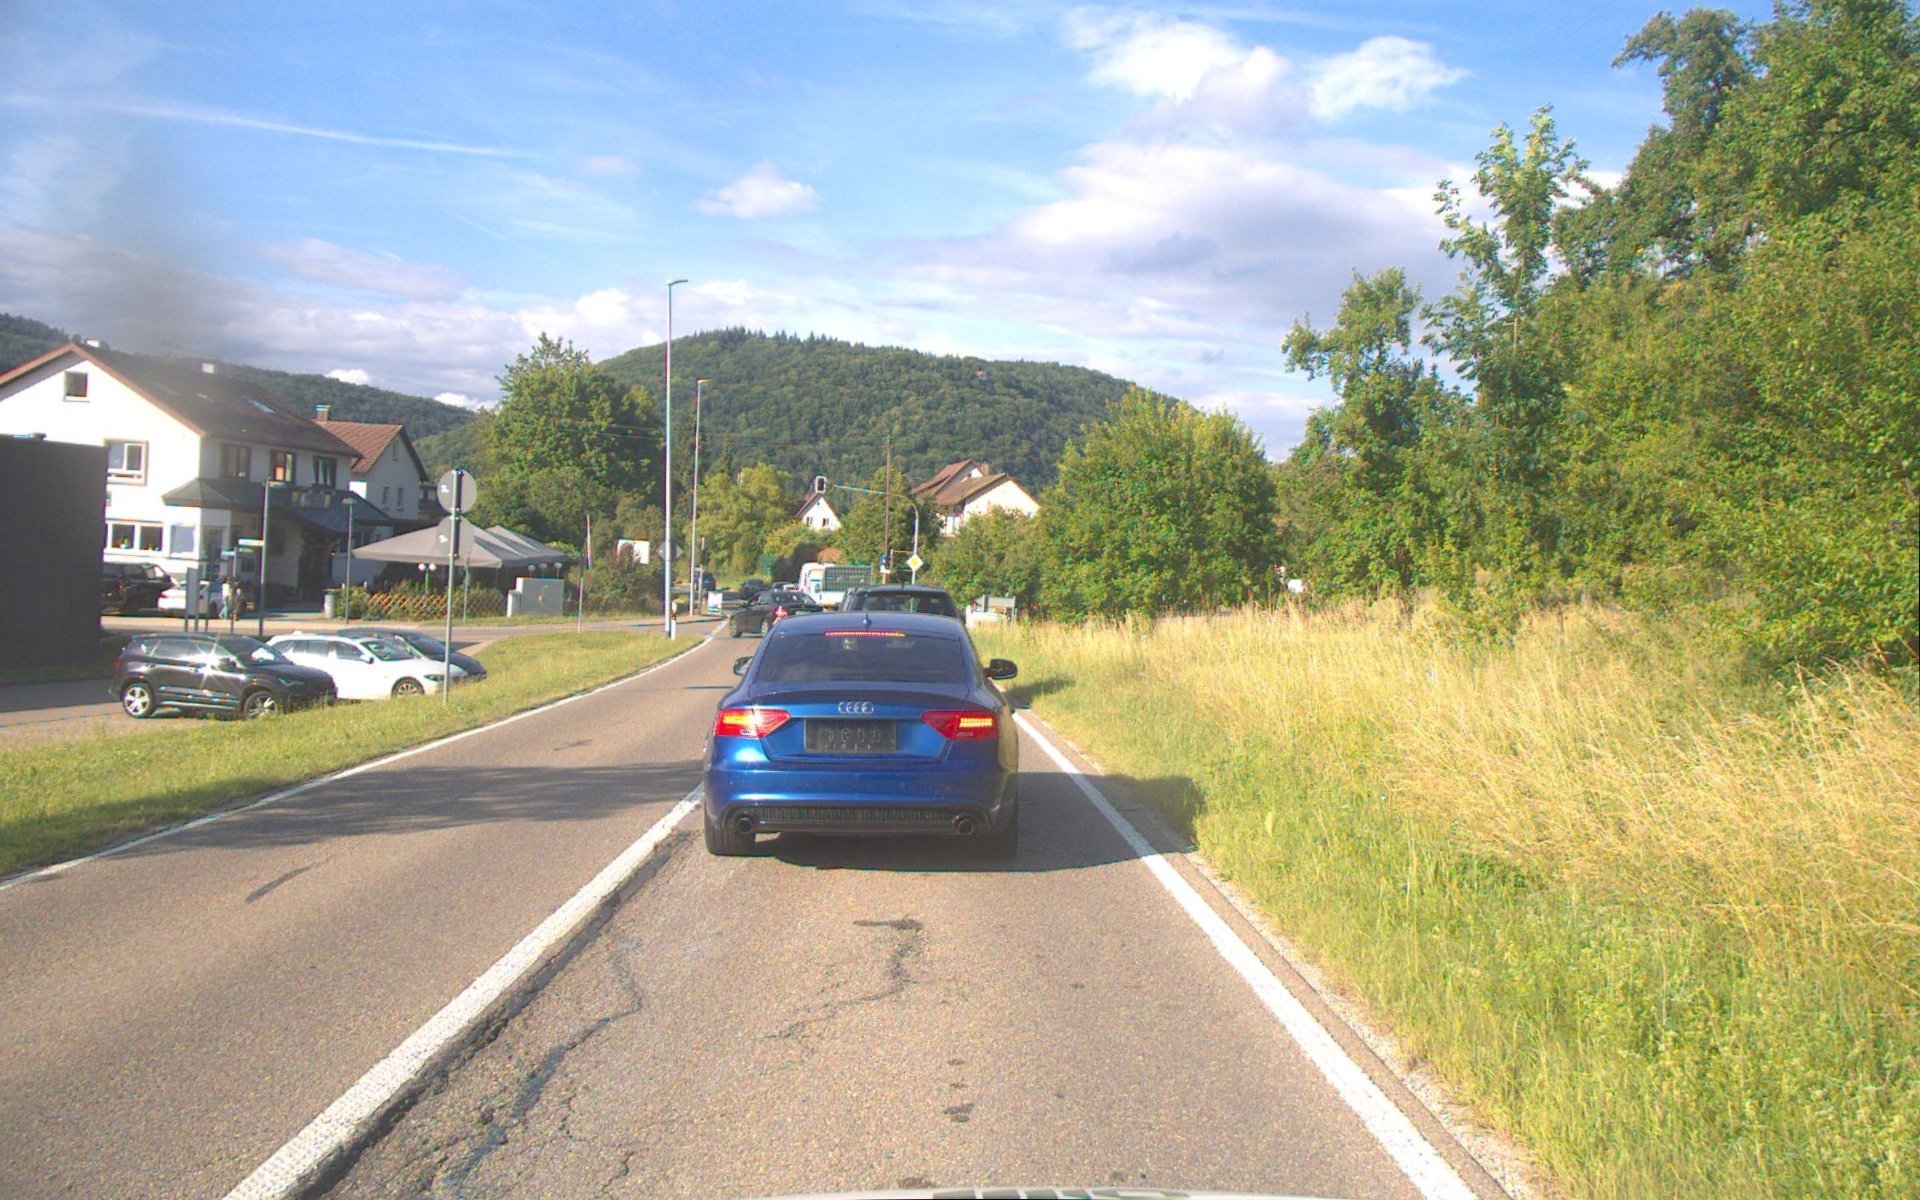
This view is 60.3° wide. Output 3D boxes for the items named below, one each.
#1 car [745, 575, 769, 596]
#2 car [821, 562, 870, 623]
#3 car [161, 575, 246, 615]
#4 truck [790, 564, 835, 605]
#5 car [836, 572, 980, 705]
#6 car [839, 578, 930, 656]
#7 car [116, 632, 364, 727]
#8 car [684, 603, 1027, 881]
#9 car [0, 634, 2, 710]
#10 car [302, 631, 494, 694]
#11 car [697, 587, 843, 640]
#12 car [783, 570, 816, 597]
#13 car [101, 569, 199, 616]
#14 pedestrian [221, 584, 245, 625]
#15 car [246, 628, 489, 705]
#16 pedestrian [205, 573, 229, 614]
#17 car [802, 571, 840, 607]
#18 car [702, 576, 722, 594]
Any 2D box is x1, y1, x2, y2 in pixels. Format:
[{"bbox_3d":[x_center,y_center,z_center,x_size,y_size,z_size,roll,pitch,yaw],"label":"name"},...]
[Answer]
[{"bbox_3d":[-15.302,-1.069,124.688,1.666,1.516,3.519,1,0,-9],"label":"car"},{"bbox_3d":[-4.455,-0.275,64.143,1.712,2.234,3.995,1,0,-6],"label":"car"},{"bbox_3d":[-28.951,-0.171,63.394,1.524,1.475,3.998,1,0,-2],"label":"car"},{"bbox_3d":[-7.585,-0.778,84.742,1.667,1.988,5.906,1,0,-11],"label":"truck"},{"bbox_3d":[-0.641,0.503,23.171,1.710,1.668,4.001,1,0,2],"label":"car"},{"bbox_3d":[-1.678,0.385,38.087,1.767,1.668,4.464,1,0,1],"label":"car"},{"bbox_3d":[-13.975,1.509,32.218,3.939,1.666,2.002,1,-1,10],"label":"car"},{"bbox_3d":[-0.456,0.741,10.493,1.758,1.412,4.001,0,0,2],"label":"car"},{"bbox_3d":[-15.583,1.364,22.222,4.512,1.900,2.001,1,-1,13],"label":"car"},{"bbox_3d":[-13.278,1.463,39.179,3.902,1.333,1.762,1,-1,6],"label":"car"},{"bbox_3d":[-5.677,0.395,49.529,3.903,1.467,1.920,1,-1,18],"label":"car"},{"bbox_3d":[-9.798,-0.985,100.883,1.667,1.516,3.517,1,0,-11],"label":"car"},{"bbox_3d":[-30.849,-0.277,63.121,1.849,1.691,3.998,1,0,-2],"label":"car"},{"bbox_3d":[-27.301,0.169,62.121,0.596,1.529,0.589,1,-1,-2],"label":"pedestrian"},{"bbox_3d":[-13.091,1.450,36.644,4.711,1.520,1.882,1,-1,10],"label":"car"},{"bbox_3d":[-27.922,-0.245,62.168,0.596,1.529,0.589,1,-1,-2],"label":"pedestrian"},{"bbox_3d":[-6.706,-0.500,79.425,1.712,1.668,3.995,1,0,-6],"label":"car"},{"bbox_3d":[-22.548,-1.369,150.304,1.597,1.604,3.668,1,0,-12],"label":"car"}]
